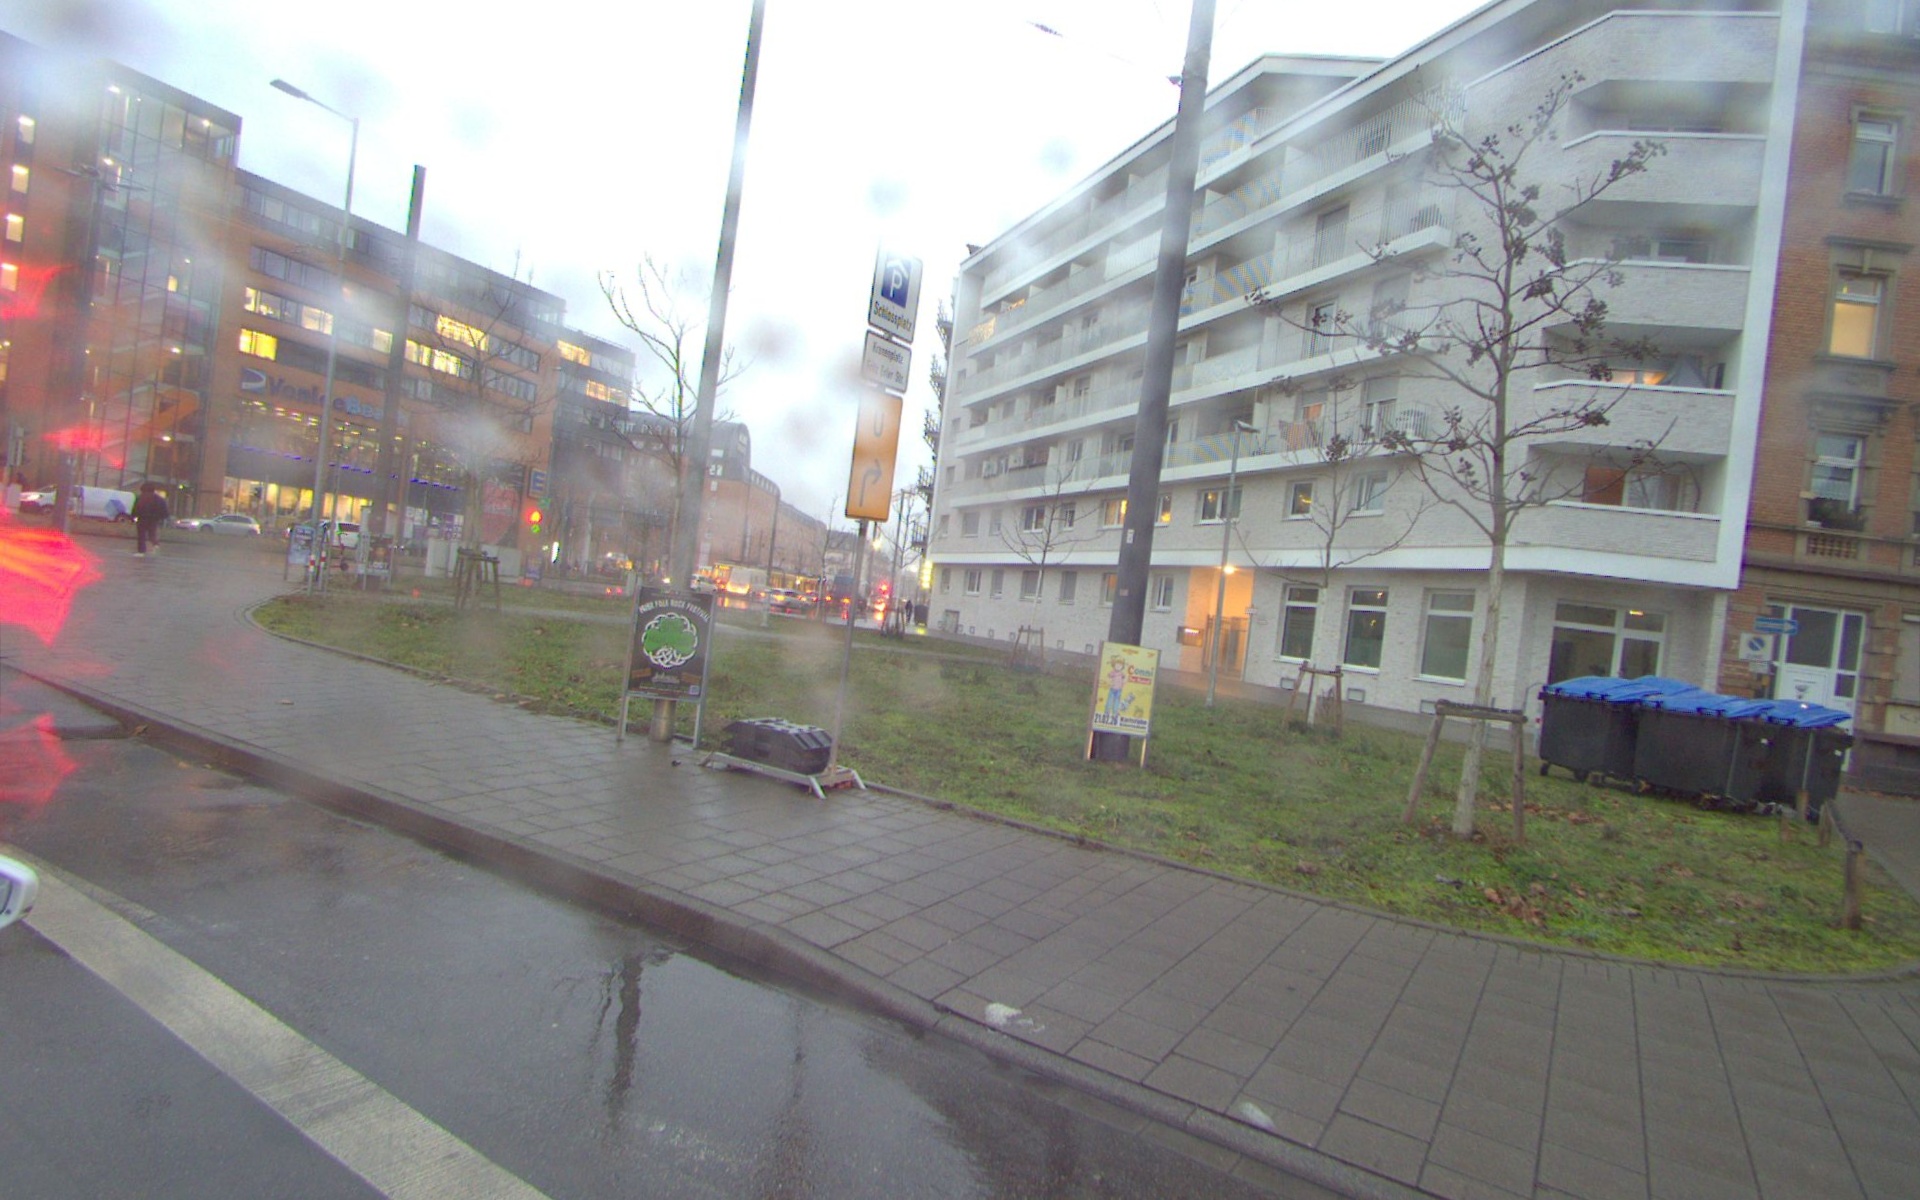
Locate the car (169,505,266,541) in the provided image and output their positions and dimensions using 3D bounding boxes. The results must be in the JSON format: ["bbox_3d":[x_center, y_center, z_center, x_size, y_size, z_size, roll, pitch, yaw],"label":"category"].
[{"bbox_3d":[-43.770,-4.513,59.402,1.767,1.406,4.227,7,-1,25],"label":"car"}]

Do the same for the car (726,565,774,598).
[{"bbox_3d":[-17.509,-1.533,84.125,1.962,2.036,4.957,8,-2,11],"label":"car"}]

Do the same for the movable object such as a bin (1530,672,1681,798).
[{"bbox_3d":[9.055,1.870,14.166,1.016,1.513,1.324,7,-1,-18],"label":"movable object such as a bin"}]

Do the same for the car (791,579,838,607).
[{"bbox_3d":[-12.103,-0.560,83.927,1.963,1.898,3.998,8,1,21],"label":"car"}]

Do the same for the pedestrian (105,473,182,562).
[{"bbox_3d":[-20.006,-1.996,24.683,1.164,1.946,0.890,10,-2,-35],"label":"pedestrian"}]

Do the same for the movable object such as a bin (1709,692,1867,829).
[{"bbox_3d":[10.727,2.057,13.067,1.021,1.507,1.039,9,-2,-12],"label":"movable object such as a bin"}]

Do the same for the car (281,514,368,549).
[{"bbox_3d":[-41.271,-4.441,65.471,1.767,1.553,4.444,7,-1,25],"label":"car"}]

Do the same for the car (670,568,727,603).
[{"bbox_3d":[-19.891,-1.077,76.601,1.963,2.036,4.003,8,-2,22],"label":"car"}]

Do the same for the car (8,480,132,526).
[{"bbox_3d":[-46.311,-5.039,52.470,1.767,1.614,4.431,7,-1,25],"label":"car"}]

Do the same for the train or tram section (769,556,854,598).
[{"bbox_3d":[-16.411,-2.473,113.487,2.293,3.300,16.666,7,-1,17],"label":"train or tram section"}]

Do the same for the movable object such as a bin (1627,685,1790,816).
[{"bbox_3d":[9.610,1.910,12.960,1.003,1.434,1.218,6,1,-21],"label":"movable object such as a bin"}]

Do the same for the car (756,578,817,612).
[{"bbox_3d":[-12.045,-0.316,70.056,1.798,1.873,4.682,6,-1,23],"label":"car"}]
